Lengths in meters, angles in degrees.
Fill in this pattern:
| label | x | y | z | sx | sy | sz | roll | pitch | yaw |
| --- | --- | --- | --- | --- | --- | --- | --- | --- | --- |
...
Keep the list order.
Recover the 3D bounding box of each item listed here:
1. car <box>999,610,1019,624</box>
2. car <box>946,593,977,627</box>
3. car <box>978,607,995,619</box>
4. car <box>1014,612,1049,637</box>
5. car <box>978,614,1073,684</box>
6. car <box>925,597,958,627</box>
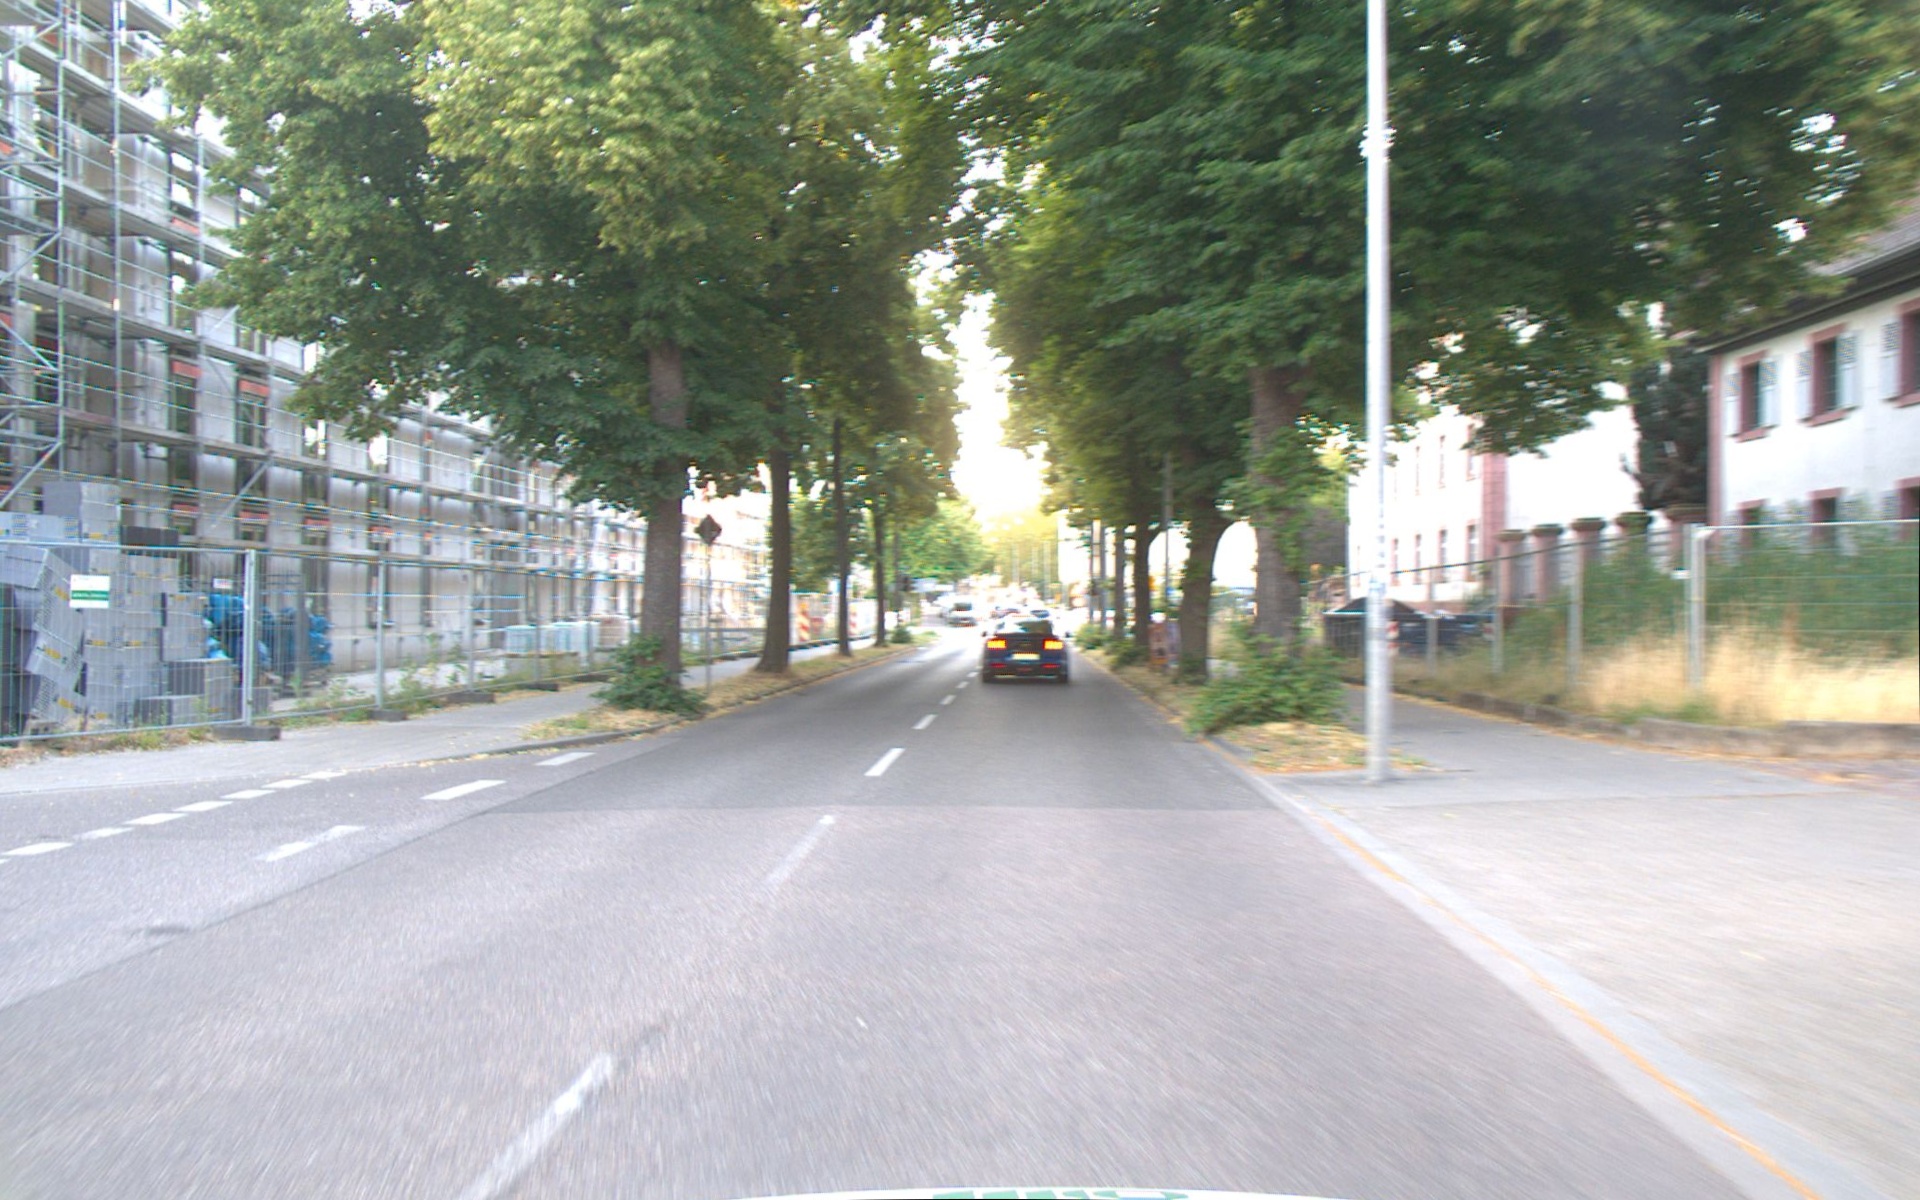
| label | x | y | z | sx | sy | sz | roll | pitch | yaw |
| --- | --- | --- | --- | --- | --- | --- | --- | --- | --- |
| car | 5.026 | 1.766 | 169.283 | 1.906 | 1.350 | 4.001 | 1 | 0 | 2 |
| car | 0.112 | 0.861 | 137.982 | 2.441 | 2.744 | 5.829 | -1 | -1 | 0 |
| car | 3.246 | 1.559 | 202.378 | 1.906 | 1.350 | 4.001 | 1 | 0 | 2 |
| car | 4.144 | 1.388 | 95.487 | 1.906 | 1.350 | 4.002 | 1 | 0 | 4 |
| car | 1.415 | 1.029 | 35.995 | 1.906 | 1.350 | 4.001 | 1 | 0 | 2 |
| car | -1.458 | 0.926 | 126.389 | 2.290 | 2.236 | 5.305 | 0 | 0 | -3 |
